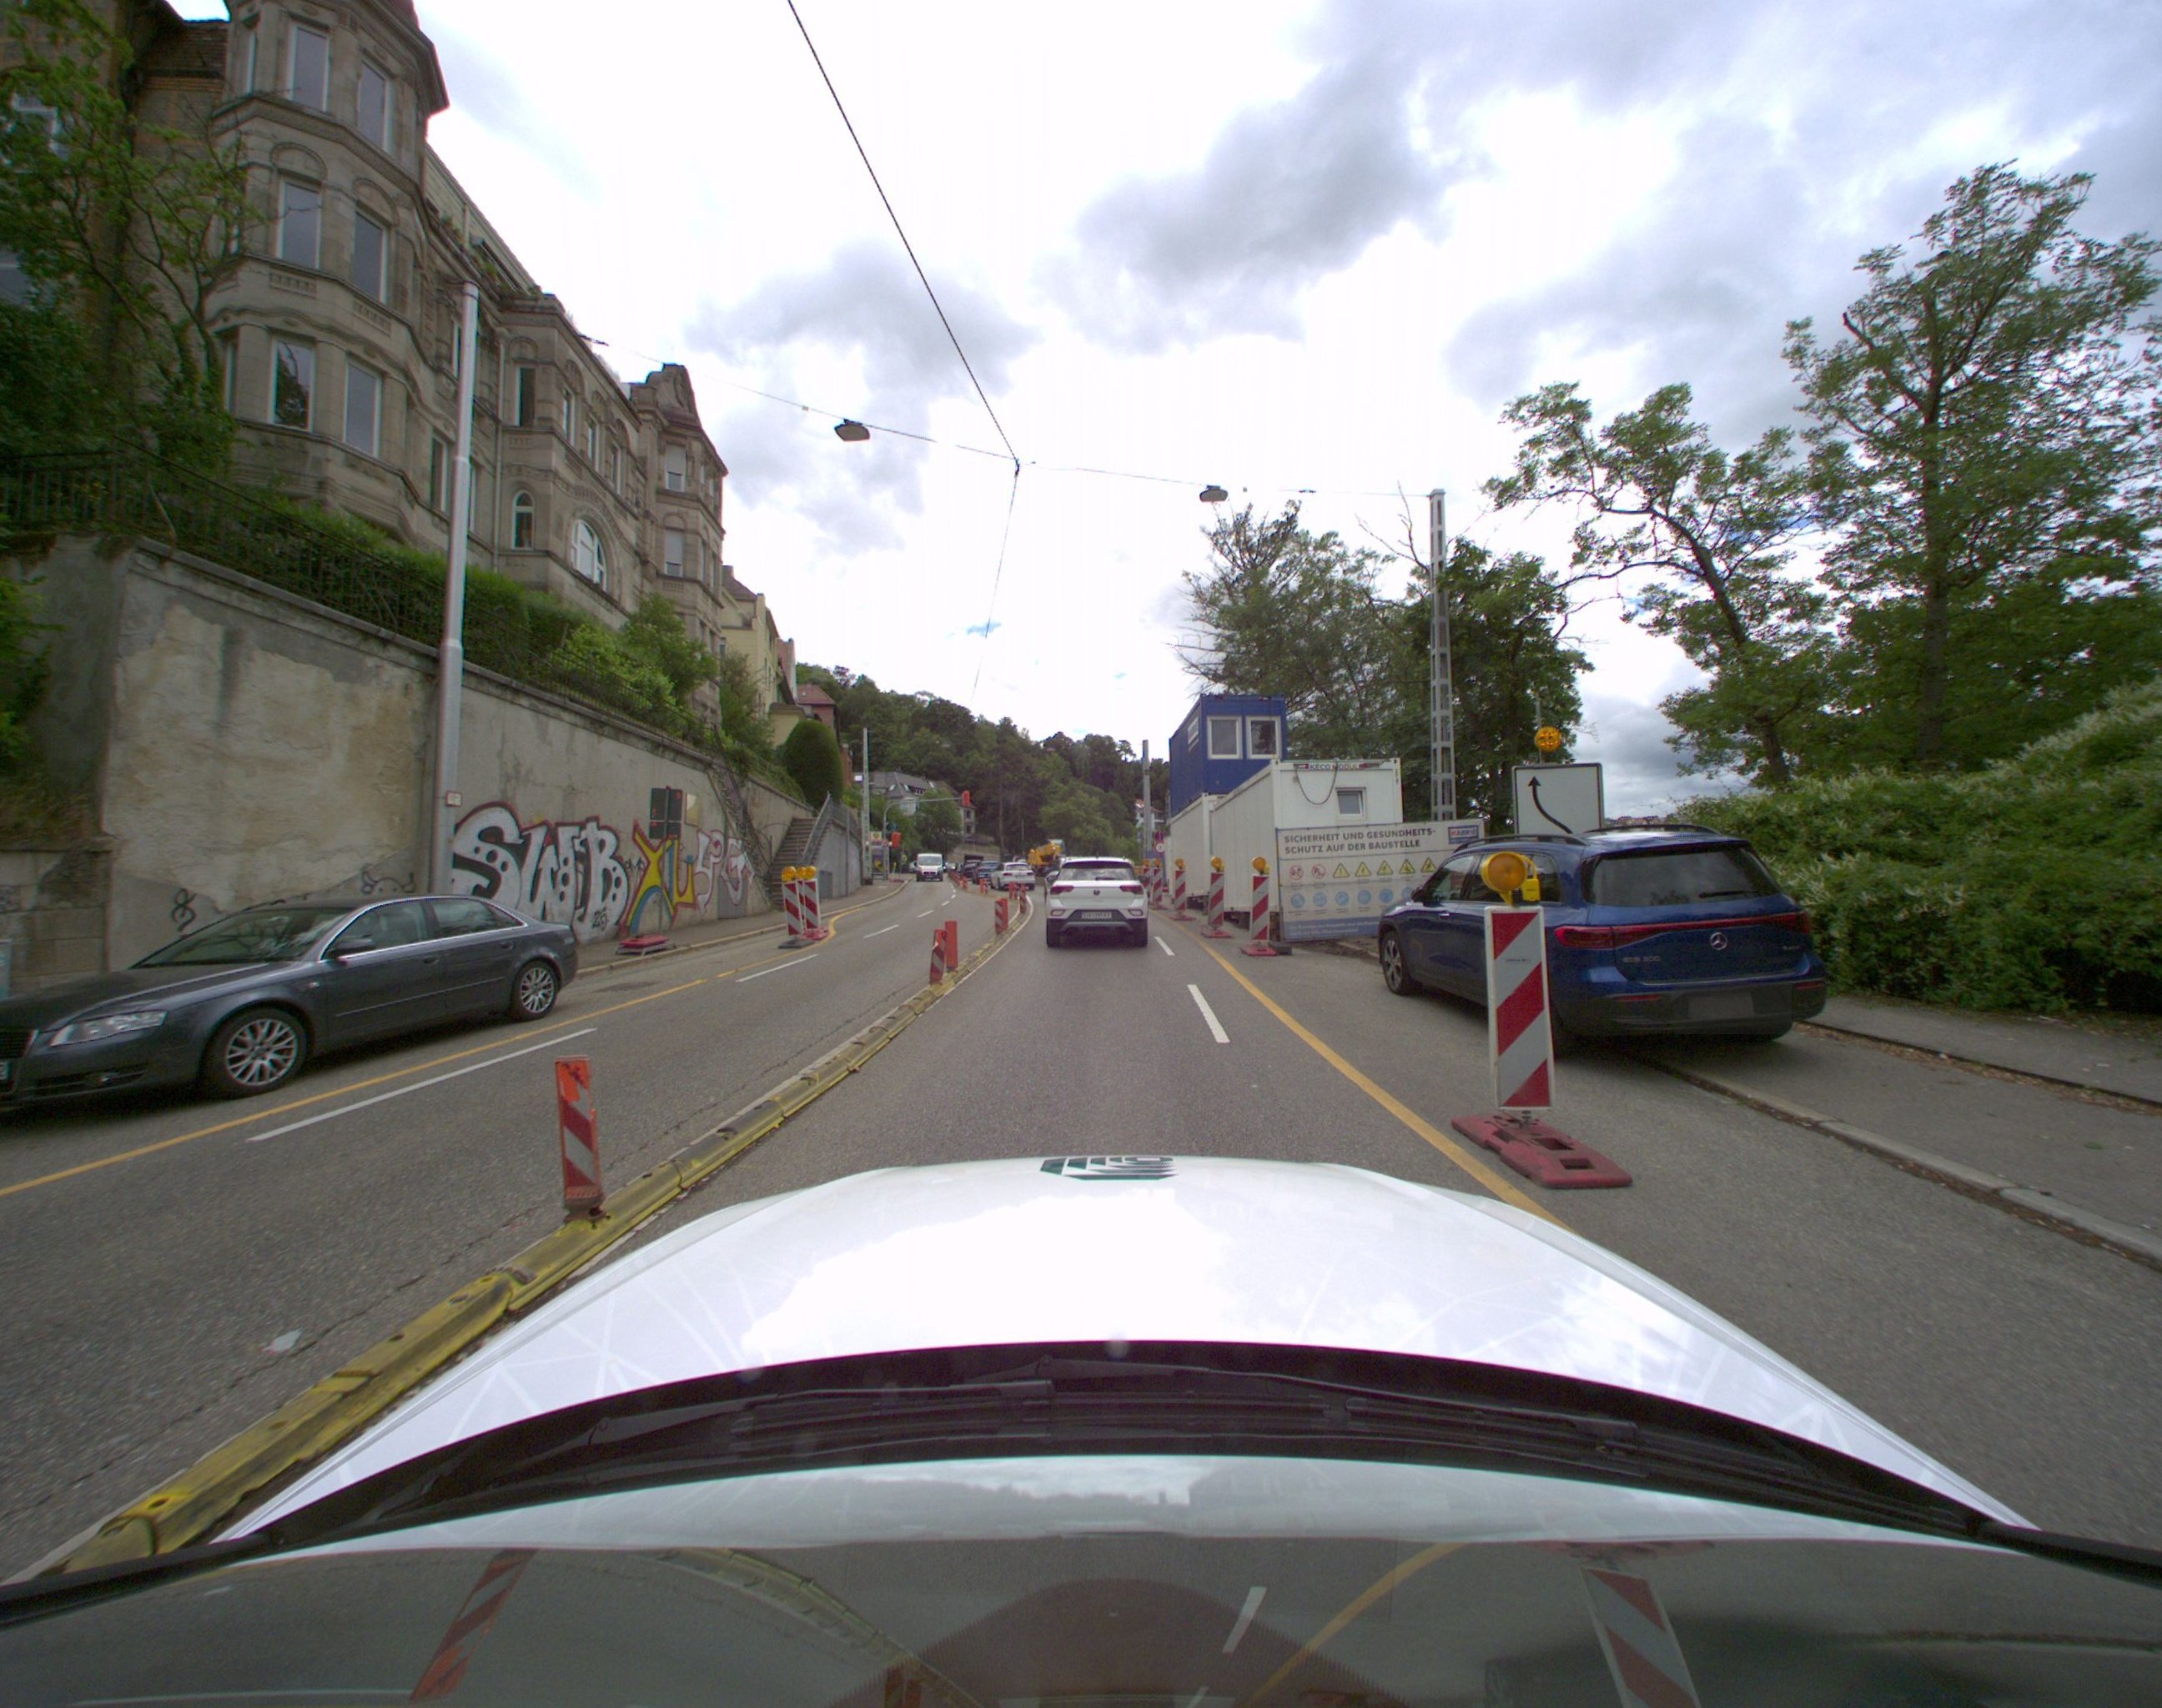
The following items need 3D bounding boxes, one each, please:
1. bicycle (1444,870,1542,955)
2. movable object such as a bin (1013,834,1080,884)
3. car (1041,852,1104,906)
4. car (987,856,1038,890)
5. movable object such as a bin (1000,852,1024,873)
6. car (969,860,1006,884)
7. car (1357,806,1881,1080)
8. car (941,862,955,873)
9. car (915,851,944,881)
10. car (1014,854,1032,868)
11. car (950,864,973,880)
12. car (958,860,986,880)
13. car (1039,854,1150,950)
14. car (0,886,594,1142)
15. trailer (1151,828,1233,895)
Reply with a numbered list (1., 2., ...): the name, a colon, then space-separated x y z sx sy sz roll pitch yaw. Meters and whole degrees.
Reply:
1. bicycle: 6.080 0.827 12.126 0.497 1.107 1.800 -3 0 1
2. movable object such as a bin: -2.459 0.373 54.460 2.817 3.071 7.781 1 -1 -15
3. car: -0.362 0.816 28.162 1.807 1.663 3.992 -1 0 -5
4. car: -3.649 0.987 42.788 1.815 1.663 3.976 -1 0 -18
5. movable object such as a bin: -9.057 1.128 107.221 2.201 2.663 4.952 0 0 6
6. car: -6.264 1.161 54.251 1.798 1.510 3.979 -1 0 -15
7. car: 4.224 0.592 7.498 1.833 1.642 4.503 -4 -1 1
8. car: -17.941 1.816 109.878 1.670 1.430 3.579 -1 -1 -6
9. car: -11.982 0.922 64.578 2.067 2.187 4.947 -2 0 -9
10. car: -6.432 0.760 90.112 1.793 1.510 3.989 -1 -1 -8
11. car: -12.000 1.815 81.659 1.797 1.510 3.981 -2 0 -14
12. car: -8.896 1.252 66.222 1.797 1.510 3.981 -2 0 -14
13. car: 0.321 0.801 15.423 1.802 1.531 4.003 -1 0 3
14. car: -6.688 1.096 7.200 1.791 1.373 4.393 -3 0 5
15. trailer: 4.617 0.314 34.817 2.105 2.550 5.105 -2 0 -8
